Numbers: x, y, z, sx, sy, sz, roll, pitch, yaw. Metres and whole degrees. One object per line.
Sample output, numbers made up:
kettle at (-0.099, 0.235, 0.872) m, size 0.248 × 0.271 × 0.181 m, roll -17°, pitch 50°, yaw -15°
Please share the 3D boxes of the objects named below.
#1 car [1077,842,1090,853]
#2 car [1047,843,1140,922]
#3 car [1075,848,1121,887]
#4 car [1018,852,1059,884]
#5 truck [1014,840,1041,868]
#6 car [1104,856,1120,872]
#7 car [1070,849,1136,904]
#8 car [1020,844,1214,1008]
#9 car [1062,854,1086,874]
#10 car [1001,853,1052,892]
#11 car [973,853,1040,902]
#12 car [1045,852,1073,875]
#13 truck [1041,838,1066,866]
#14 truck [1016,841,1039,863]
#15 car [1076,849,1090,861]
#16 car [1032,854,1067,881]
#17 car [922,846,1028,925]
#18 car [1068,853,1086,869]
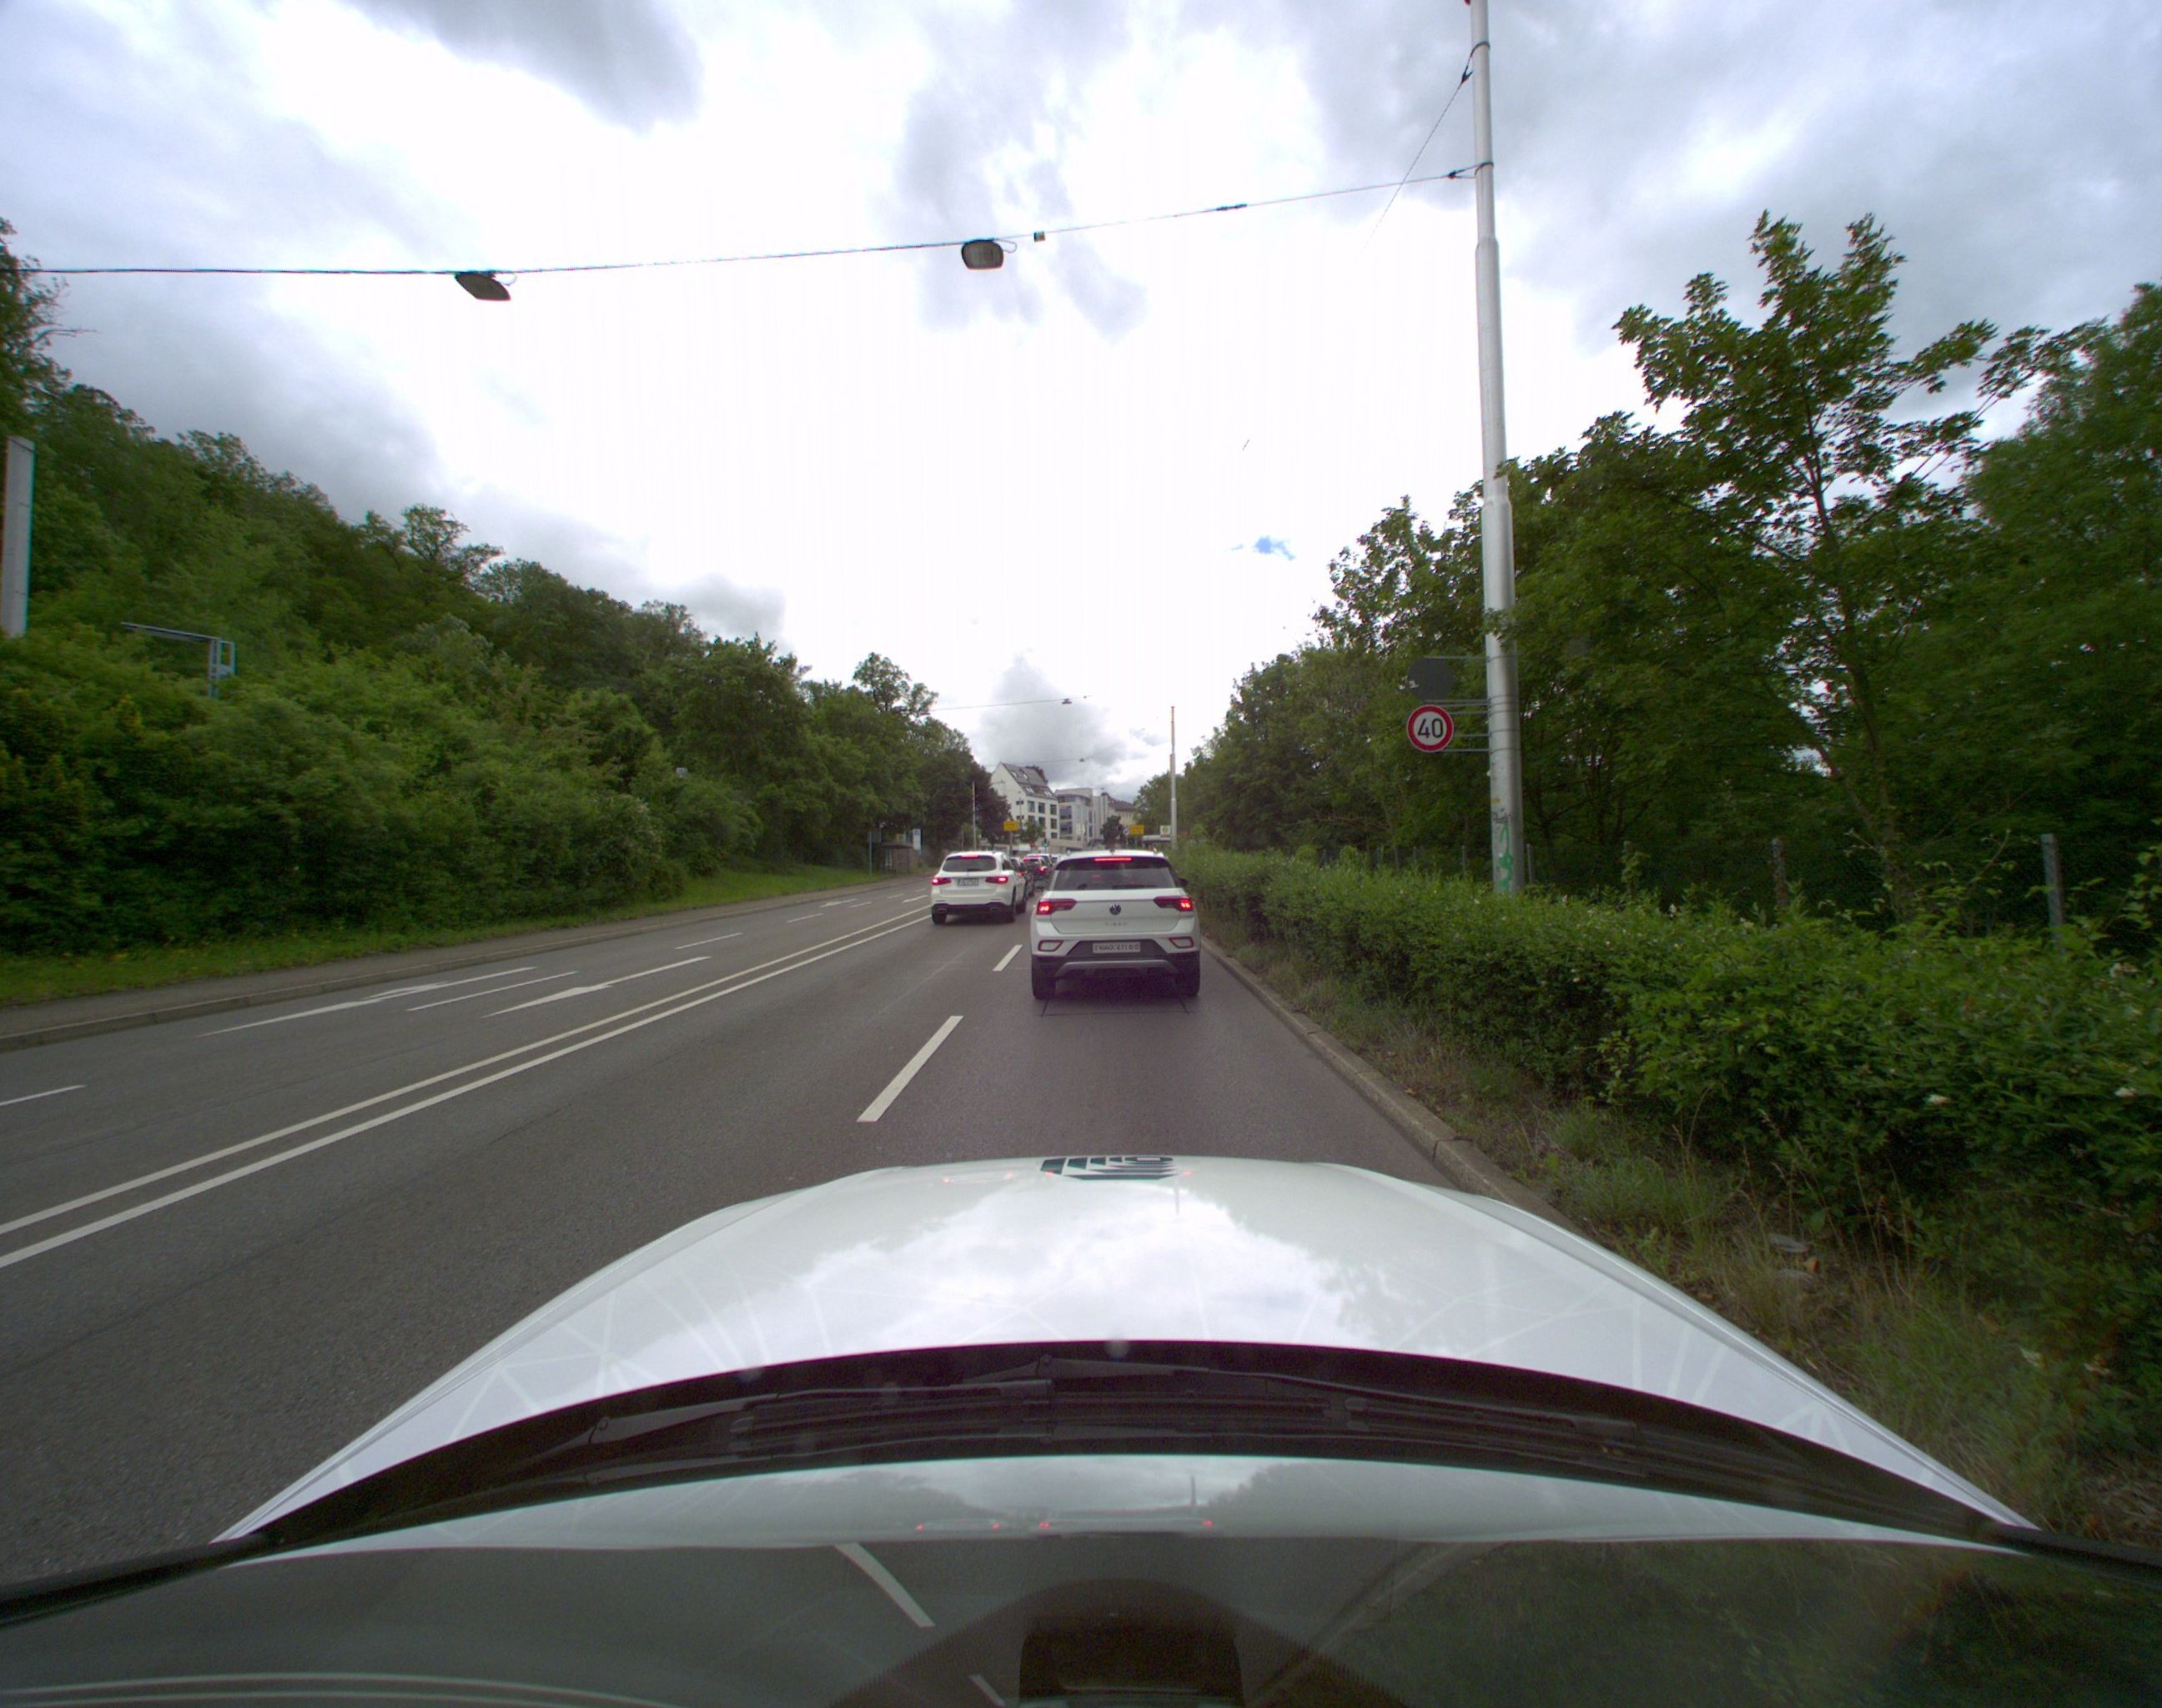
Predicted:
car at (0.360, -0.923, 120.693) m, size 1.823 × 1.526 × 4.001 m, roll -2°, pitch 0°, yaw 1°
car at (0.294, 0.576, 18.434) m, size 1.823 × 1.526 × 4.001 m, roll -2°, pitch 0°, yaw 1°
car at (0.747, 0.563, 35.881) m, size 1.823 × 1.526 × 4.001 m, roll -2°, pitch 0°, yaw 1°
car at (-2.177, 0.682, 42.783) m, size 1.823 × 1.526 × 4.001 m, roll -2°, pitch 0°, yaw 1°
truck at (-5.543, -0.022, 84.685) m, size 2.354 × 2.706 × 4.479 m, roll -3°, pitch 0°, yaw 1°
car at (4.079, 1.301, 108.431) m, size 1.986 × 2.013 × 4.001 m, roll -3°, pitch 0°, yaw 1°
car at (0.673, 0.645, 25.361) m, size 1.823 × 1.526 × 4.001 m, roll -2°, pitch 0°, yaw 1°
car at (0.387, 0.695, 9.851) m, size 1.823 × 1.526 × 4.001 m, roll -2°, pitch 0°, yaw 1°
car at (-0.525, 0.797, 67.408) m, size 1.823 × 1.526 × 4.001 m, roll -2°, pitch 0°, yaw 1°
car at (-2.320, 0.739, 35.484) m, size 1.823 × 1.526 × 4.001 m, roll -2°, pitch 0°, yaw 1°
car at (-2.497, 0.765, 28.255) m, size 1.823 × 1.497 × 4.001 m, roll -2°, pitch 0°, yaw 1°
car at (-1.556, 0.669, 59.710) m, size 1.823 × 1.526 × 4.001 m, roll -2°, pitch 0°, yaw 1°
truck at (-2.991, -0.216, 89.252) m, size 2.354 × 2.782 × 4.479 m, roll -3°, pitch 0°, yaw 1°
truck at (-7.873, -0.269, 120.400) m, size 2.283 × 3.051 × 6.985 m, roll -3°, pitch 0°, yaw 3°
car at (0.286, 0.132, 107.099) m, size 1.823 × 1.526 × 4.001 m, roll -2°, pitch 0°, yaw 1°
car at (-1.889, 0.805, 50.171) m, size 1.823 × 1.526 × 4.001 m, roll -2°, pitch 0°, yaw 1°
car at (-2.410, 0.677, 19.519) m, size 1.911 × 1.669 × 4.001 m, roll -1°, pitch 0°, yaw 1°
car at (-0.457, 0.803, 90.727) m, size 1.809 × 1.656 × 3.929 m, roll -3°, pitch 0°, yaw 1°
